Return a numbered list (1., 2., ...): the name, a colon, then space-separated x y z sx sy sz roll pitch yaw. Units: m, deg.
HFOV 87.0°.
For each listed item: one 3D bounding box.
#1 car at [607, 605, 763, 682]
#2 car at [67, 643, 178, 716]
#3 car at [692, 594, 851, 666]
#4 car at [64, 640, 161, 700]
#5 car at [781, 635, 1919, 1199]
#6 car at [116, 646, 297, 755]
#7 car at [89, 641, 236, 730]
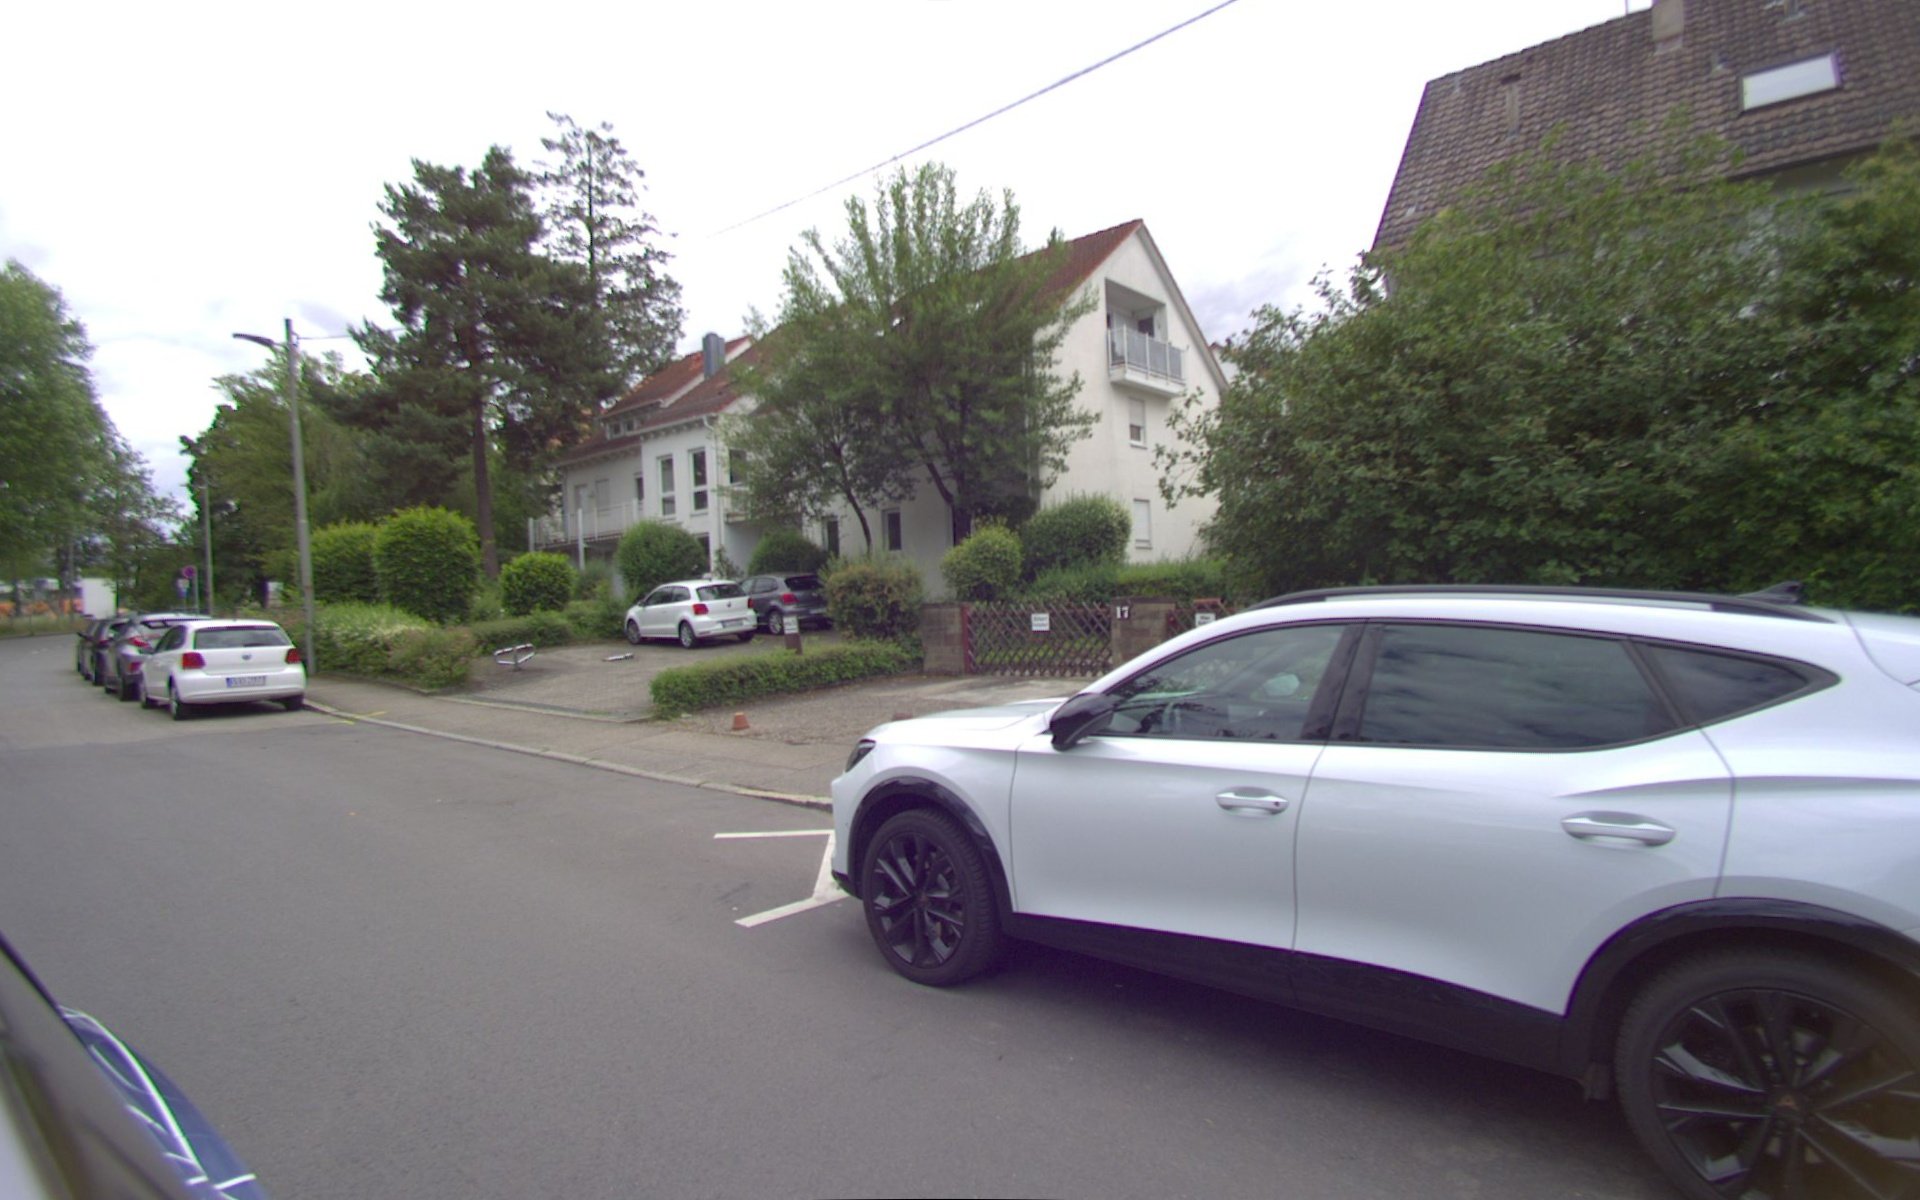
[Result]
1. car: -6.375 0.927 23.248 3.935 1.468 1.684 1 4 45
2. car: -19.188 1.734 23.121 1.630 1.452 4.336 1 -2 -44
3. car: -4.744 0.750 25.172 4.000 1.586 1.802 -3 0 43
4. car: -22.502 1.781 26.812 1.714 1.429 4.508 2 -3 -43
5. car: 1.471 0.924 3.578 4.365 1.511 1.770 -3 -3 40
6. car: -12.097 1.505 16.159 3.927 1.491 1.605 -3 -2 42
7. car: -15.256 1.550 19.291 1.741 1.491 4.130 3 -4 -44
